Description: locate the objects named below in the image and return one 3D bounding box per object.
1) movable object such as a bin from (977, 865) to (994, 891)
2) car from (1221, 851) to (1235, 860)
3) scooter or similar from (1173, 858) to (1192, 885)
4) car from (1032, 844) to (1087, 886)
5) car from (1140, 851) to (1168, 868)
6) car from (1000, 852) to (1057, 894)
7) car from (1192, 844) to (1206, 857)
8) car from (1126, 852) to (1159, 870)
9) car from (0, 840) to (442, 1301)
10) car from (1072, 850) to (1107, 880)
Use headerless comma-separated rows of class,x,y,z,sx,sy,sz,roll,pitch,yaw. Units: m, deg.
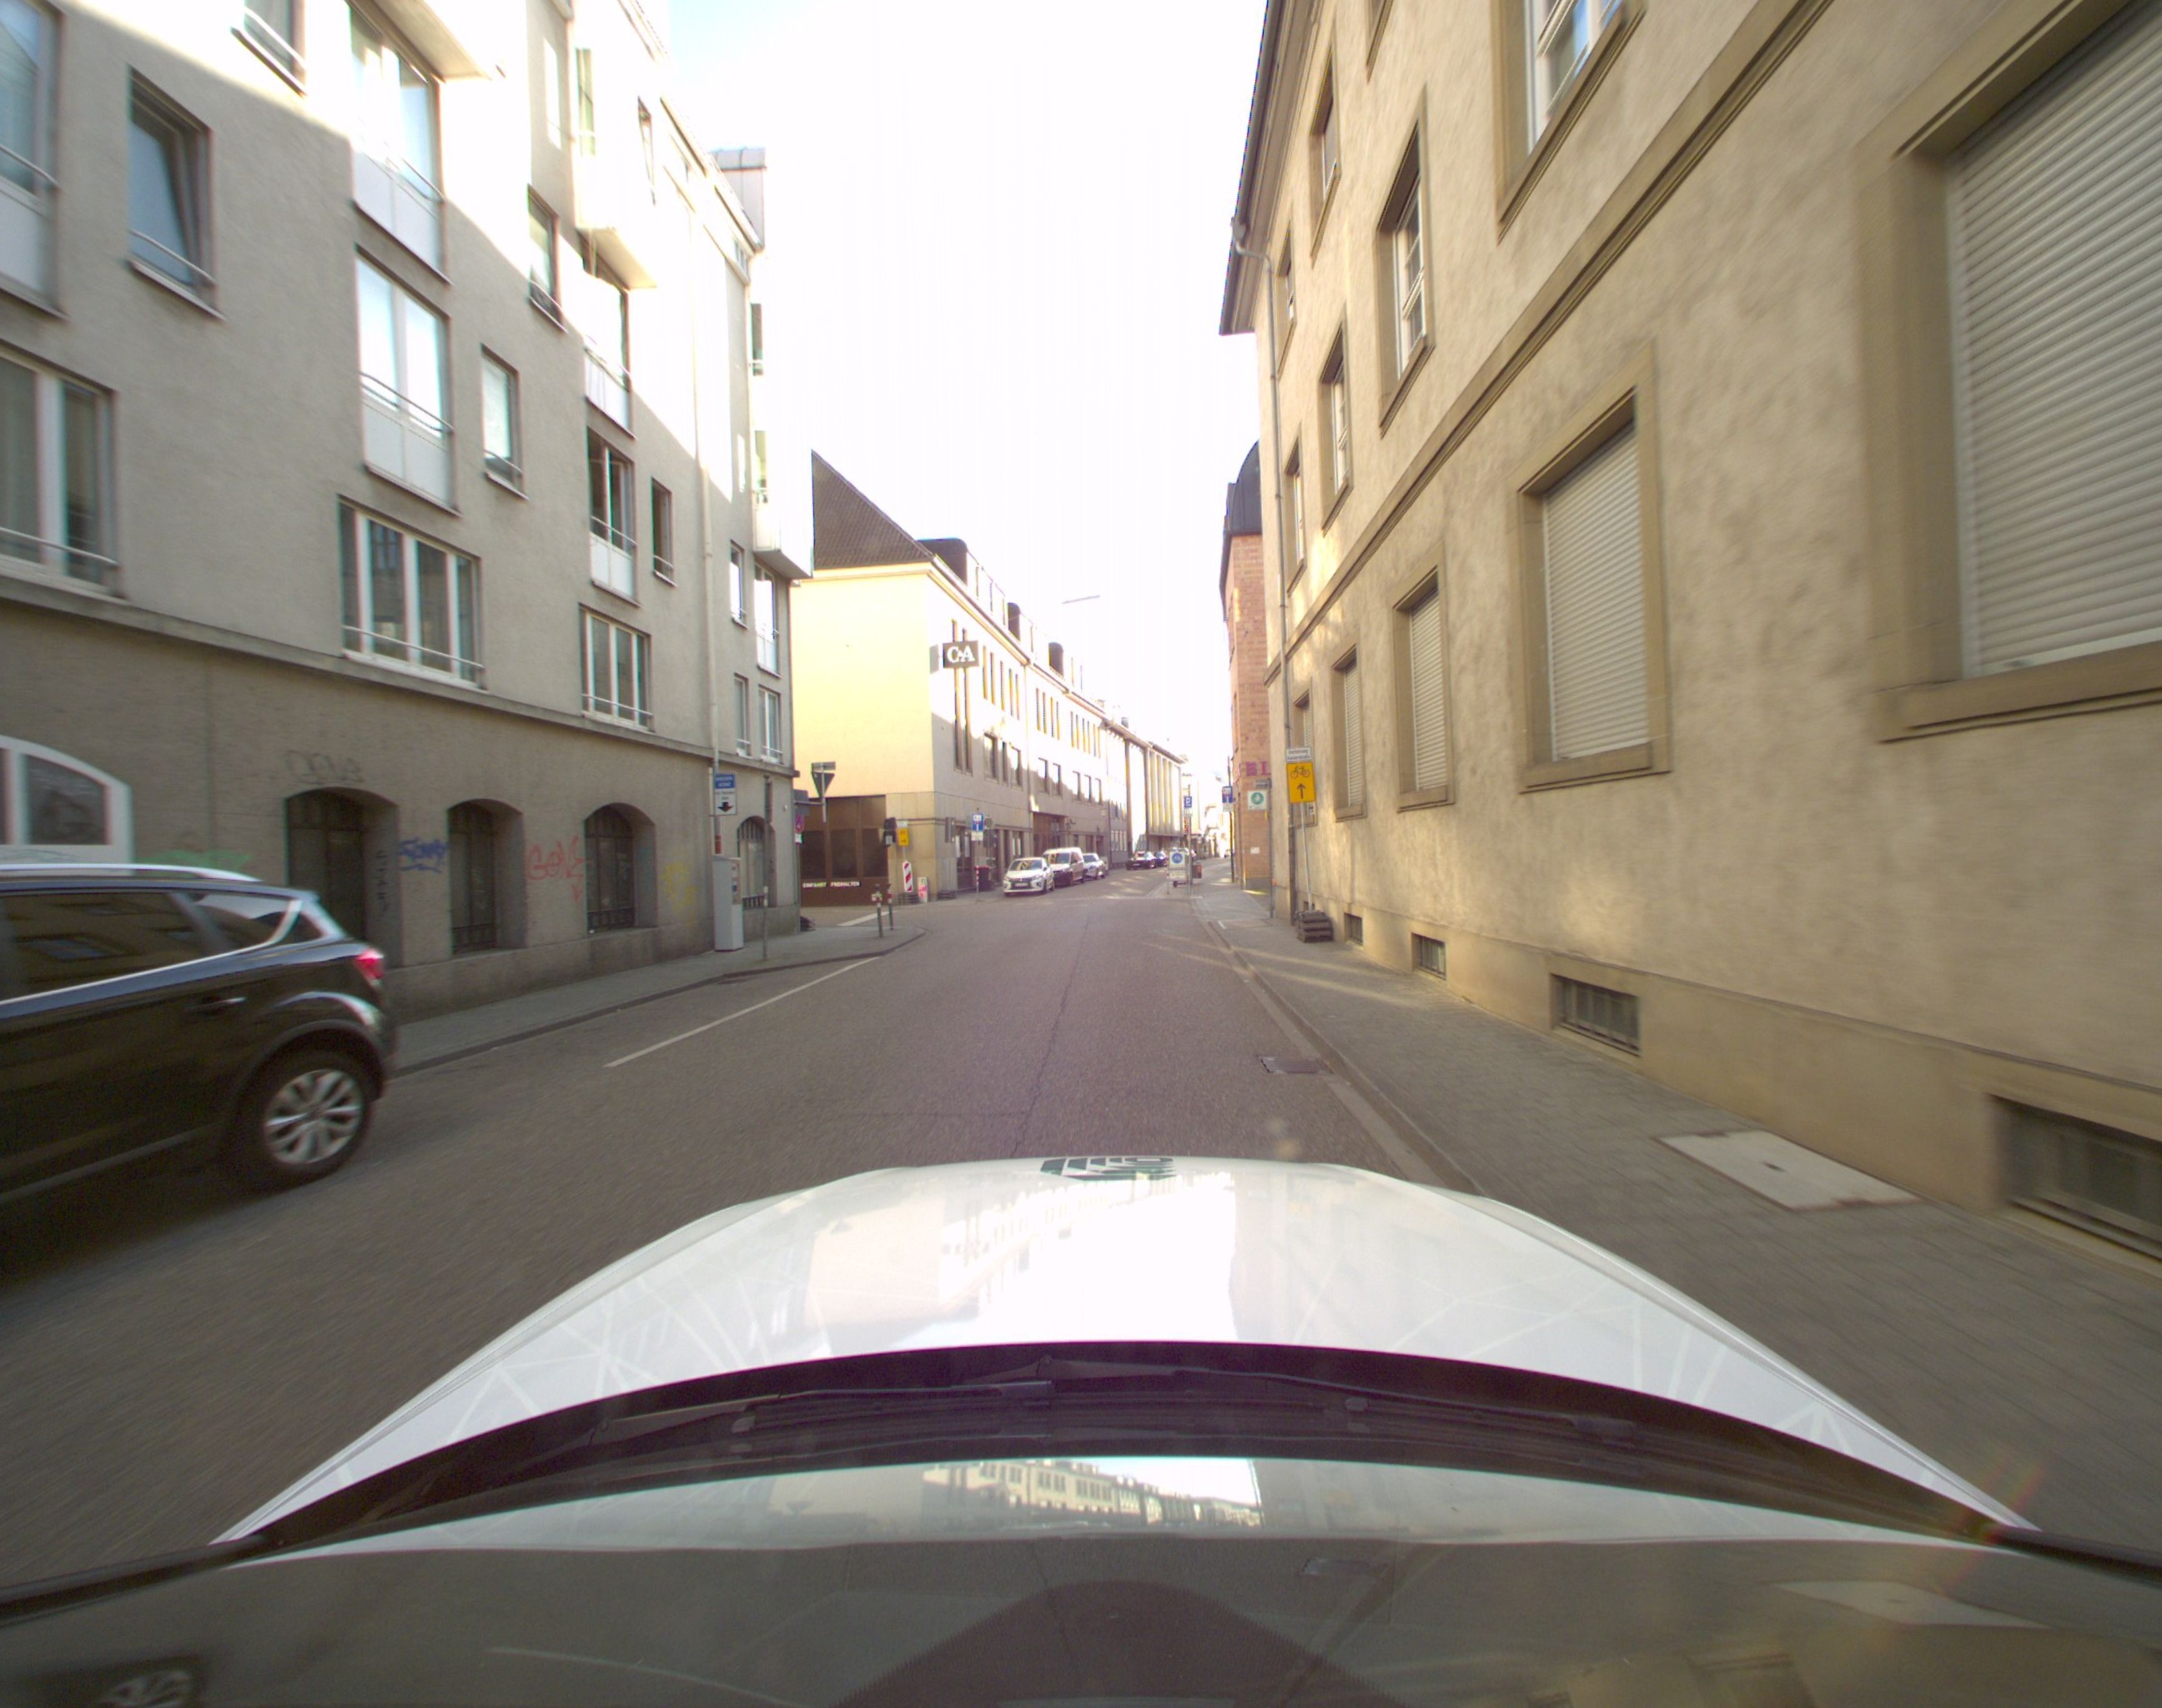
movable object such as a bin,-4.043,1.009,34.613,0.606,1.060,0.713,0,0,1
car,22.724,0.217,126.114,1.676,1.370,3.634,-3,0,16
scooter or similar,4.273,0.742,34.228,0.766,1.136,0.270,0,0,7
car,-0.952,0.486,39.126,1.660,1.818,4.565,-4,0,10
car,6.478,0.443,71.869,1.712,1.340,4.016,-3,0,14
car,-2.103,0.742,33.321,1.662,1.507,3.799,-4,0,5
car,14.787,-0.475,101.711,1.329,1.494,3.360,-2,0,14
car,4.991,0.529,65.500,1.867,1.332,4.117,-2,0,14
car,-4.940,0.873,2.897,1.733,1.711,4.194,-5,0,3
car,0.515,0.580,45.232,1.263,1.507,3.412,-4,0,11
